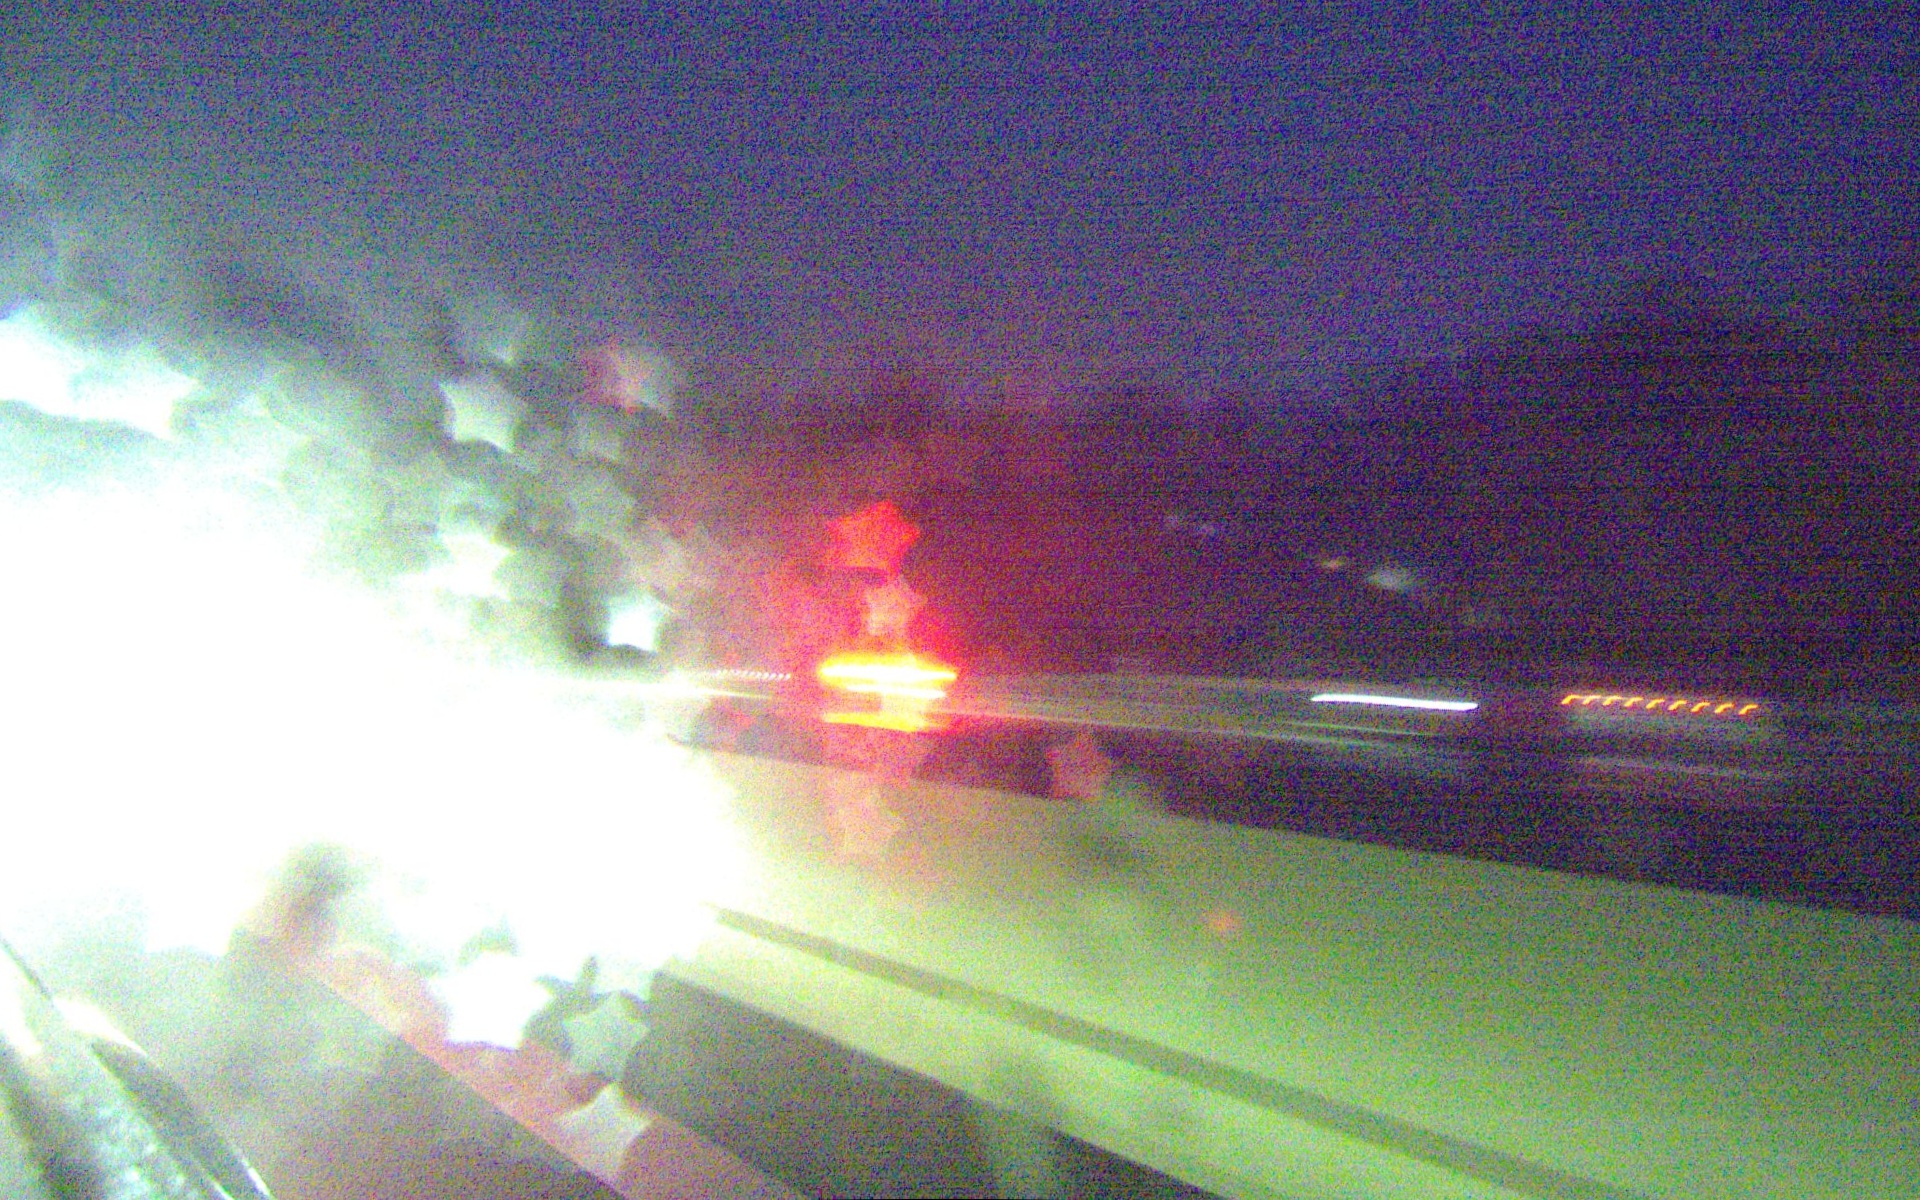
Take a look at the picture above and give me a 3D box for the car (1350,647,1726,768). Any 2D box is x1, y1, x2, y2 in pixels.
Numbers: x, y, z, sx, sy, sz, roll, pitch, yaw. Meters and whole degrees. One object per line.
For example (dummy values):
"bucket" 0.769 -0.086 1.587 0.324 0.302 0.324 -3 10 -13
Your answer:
"car" 9.772 1.710 17.482 5.370 1.595 1.873 -1 0 43

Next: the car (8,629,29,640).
"car" -130.119 4.767 139.834 4.271 1.520 1.672 -2 -4 42

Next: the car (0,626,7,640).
"car" -112.978 3.871 118.315 4.378 1.538 1.766 -1 0 41

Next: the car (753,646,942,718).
"car" -2.630 1.811 23.187 4.349 1.433 1.764 -1 -3 39
